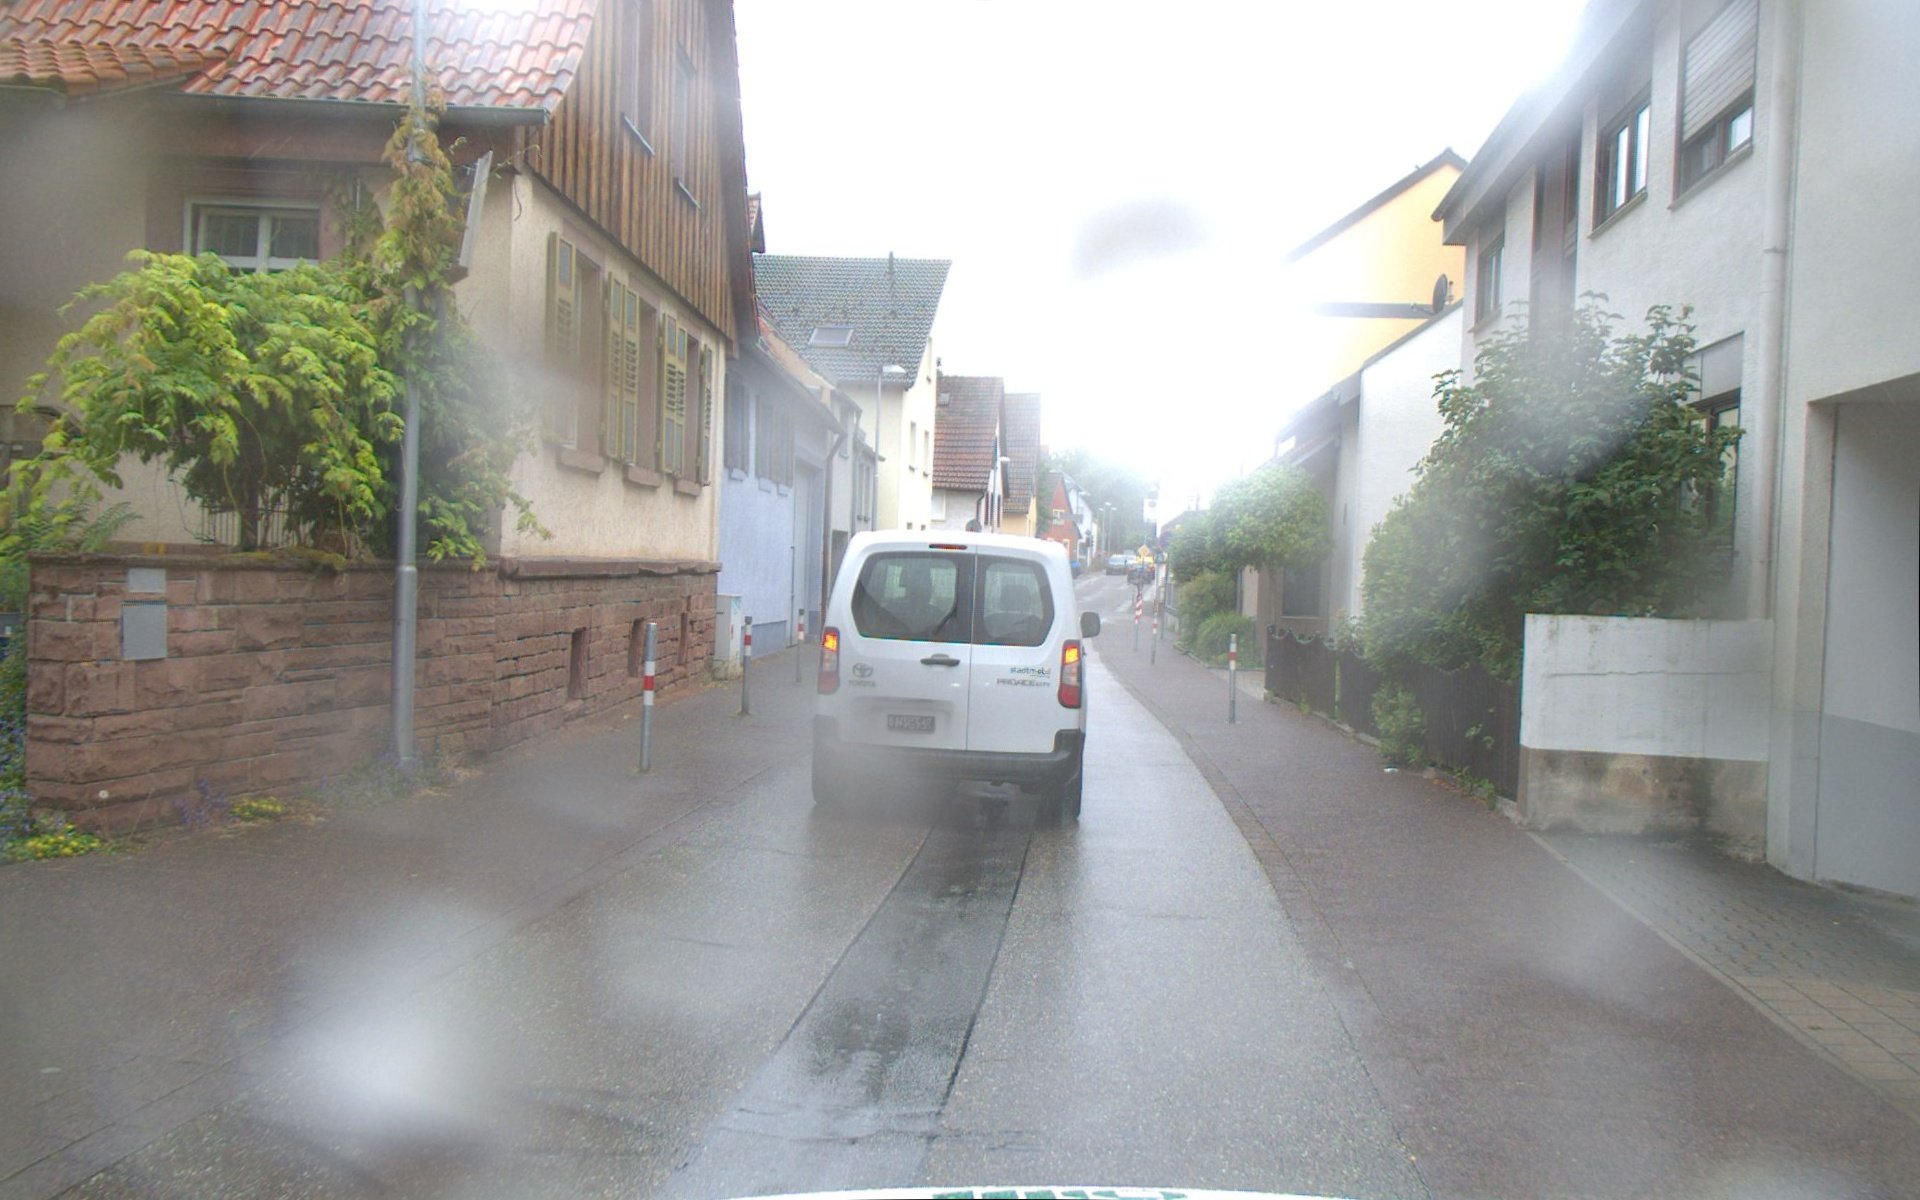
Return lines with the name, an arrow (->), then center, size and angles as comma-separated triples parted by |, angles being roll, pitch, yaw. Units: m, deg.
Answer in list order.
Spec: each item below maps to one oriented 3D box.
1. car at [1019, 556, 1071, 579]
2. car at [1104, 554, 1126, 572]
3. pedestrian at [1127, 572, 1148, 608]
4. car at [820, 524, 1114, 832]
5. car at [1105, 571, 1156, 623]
car -> 6.426, -2.464, 124.443 | 3.380, 1.586, 1.983 | -2, 3, -27
car -> 13.785, -3.289, 147.275 | 1.555, 1.466, 3.769 | 4, 1, 11
pedestrian -> 9.615, -0.548, 89.684 | 1.028, 1.926, 0.878 | 1, 0, 3
car -> 0.127, 0.452, 11.957 | 1.738, 1.811, 4.001 | 1, 0, 2
car -> 6.989, -0.137, 67.606 | 1.951, 2.049, 4.003 | 1, 0, 7
